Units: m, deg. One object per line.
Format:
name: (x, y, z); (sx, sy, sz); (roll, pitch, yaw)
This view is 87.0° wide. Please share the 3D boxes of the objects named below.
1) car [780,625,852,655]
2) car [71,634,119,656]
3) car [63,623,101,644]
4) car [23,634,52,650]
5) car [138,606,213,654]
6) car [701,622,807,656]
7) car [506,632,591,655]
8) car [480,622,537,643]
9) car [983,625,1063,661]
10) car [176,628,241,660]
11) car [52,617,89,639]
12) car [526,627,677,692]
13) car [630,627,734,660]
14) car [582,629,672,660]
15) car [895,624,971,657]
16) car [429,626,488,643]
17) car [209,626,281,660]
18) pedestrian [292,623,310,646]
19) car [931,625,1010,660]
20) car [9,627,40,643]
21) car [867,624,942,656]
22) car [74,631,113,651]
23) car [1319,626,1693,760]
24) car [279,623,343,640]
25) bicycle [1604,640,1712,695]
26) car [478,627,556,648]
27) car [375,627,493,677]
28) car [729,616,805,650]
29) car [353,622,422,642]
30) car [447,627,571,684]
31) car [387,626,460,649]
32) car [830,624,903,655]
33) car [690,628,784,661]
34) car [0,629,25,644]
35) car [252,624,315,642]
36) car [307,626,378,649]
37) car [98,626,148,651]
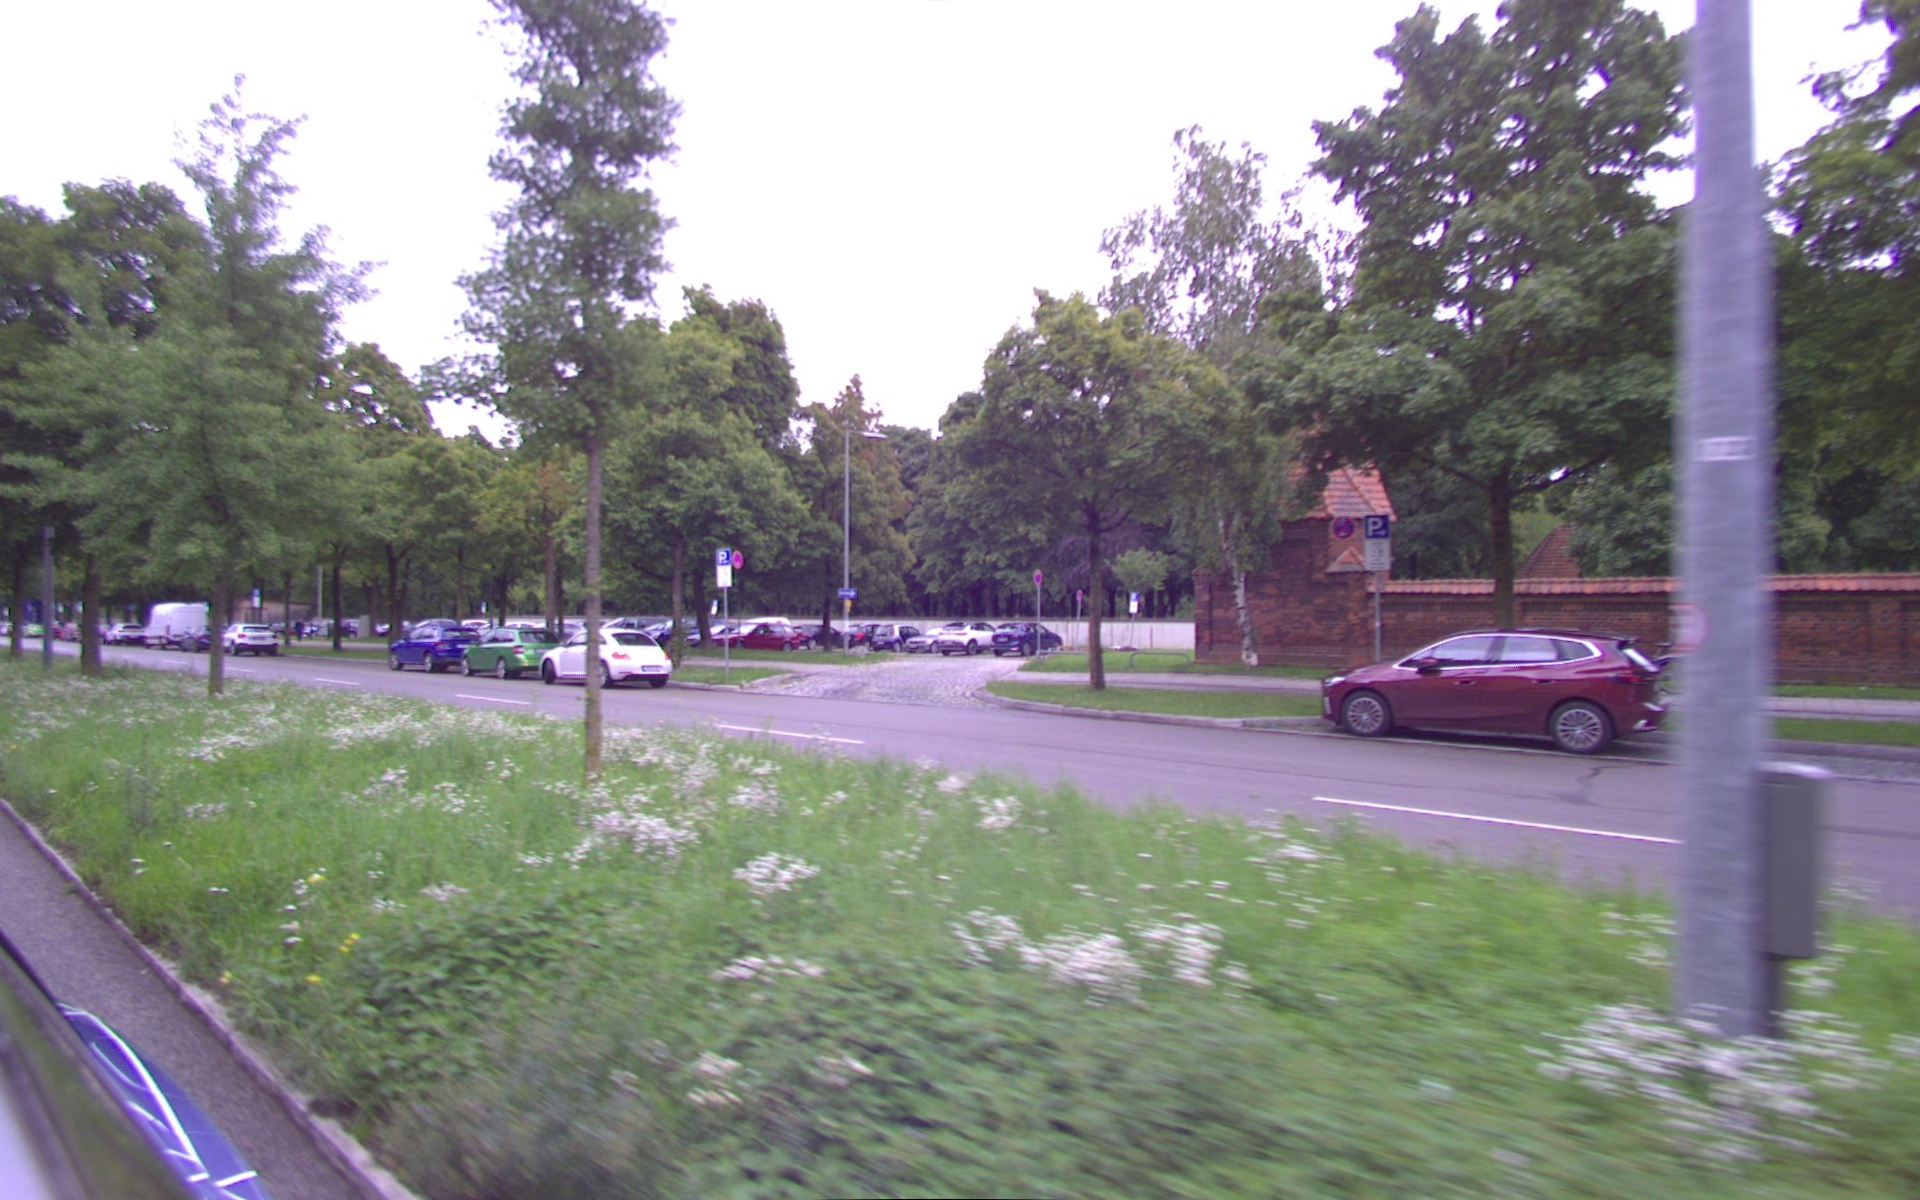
car: (-8.355, 2.307, 59.046); (1.814, 1.548, 3.946); (-1, 0, 40)
car: (-60.686, 3.146, 70.985); (3.995, 1.459, 1.804); (-1, -3, 38)
car: (-69.181, 2.652, 79.733); (4.112, 1.611, 1.802); (-1, -2, 43)
car: (-89.622, 4.101, 98.320); (3.999, 1.511, 1.622); (-2, -4, 42)
car: (-45.883, 1.796, 59.130); (7.102, 2.664, 2.117); (-2, -4, 42)
car: (-8.940, 1.658, 44.099); (1.758, 1.403, 4.367); (-1, -2, 41)
car: (-23.347, 2.435, 57.569); (1.784, 1.219, 4.126); (-2, -2, 44)
car: (-37.583, 2.701, 84.264); (3.940, 1.666, 1.771); (1, -2, -44)
car: (3.045, 2.035, 48.456); (1.814, 1.548, 3.946); (-1, 0, 40)
car: (-39.894, 2.298, 53.665); (4.249, 1.502, 1.838); (0, -1, 40)
car: (-76.189, 2.379, 86.665); (4.236, 1.712, 1.803); (0, -1, 40)
car: (-9.342, 1.512, 26.207); (4.312, 1.549, 1.742); (-1, -4, 41)
car: (-13.006, 2.003, 47.451); (4.293, 1.516, 2.004); (1, -2, -39)
car: (-17.042, 2.248, 51.813); (3.934, 1.516, 2.005); (1, -2, -36)
car: (-1.362, 2.090, 52.843); (1.814, 1.548, 3.946); (-1, 0, 40)
car: (-45.570, 3.114, 92.001); (1.999, 1.453, 4.459); (-1, -2, 40)
car: (-34.361, 2.023, 48.572); (4.139, 1.502, 1.838); (0, -1, 40)
pedestrian: (-43.184, 2.230, 66.306); (0.856, 1.507, 0.786); (-1, -2, 41)
car: (0.543, 2.081, 50.239); (1.814, 1.548, 3.946); (-1, 0, 40)
car: (-95.575, 3.577, 103.347); (4.454, 1.643, 1.802); (-1, -3, 41)
car: (-2.979, 2.159, 54.995); (1.814, 1.548, 3.946); (-1, 0, 40)
car: (-65.108, 3.073, 76.025); (4.001, 1.420, 1.801); (-1, -4, 44)
car: (7.442, 1.150, 14.046); (4.295, 1.548, 1.795); (-1, -1, 40)
car: (-52.326, 2.534, 81.653); (1.737, 1.293, 3.952); (-1, -2, 35)
bicycle: (13.011, 1.241, 18.887); (1.617, 0.944, 0.648); (-1, -2, 39)
car: (-26.448, 2.197, 60.479); (1.784, 1.219, 3.942); (-2, -2, 44)
car: (-17.362, 1.687, 33.321); (4.310, 1.549, 1.867); (-1, -4, 40)
car: (-12.137, 2.075, 63.805); (1.999, 2.050, 4.459); (-1, -2, 40)
car: (-40.972, 2.282, 72.524); (1.815, 1.349, 3.942); (-1, -2, 44)
car: (-13.330, 1.617, 29.786); (4.312, 1.549, 1.621); (-1, -4, 41)
car: (-35.965, 2.485, 67.906); (3.940, 1.449, 1.816); (1, -2, -44)
car: (-5.198, 2.190, 56.660); (1.814, 1.548, 3.946); (-1, 0, 40)
car: (-10.125, 1.992, 46.177); (1.758, 1.403, 3.935); (-1, -2, 41)
car: (-100.651, 3.871, 107.434); (3.686, 1.433, 1.632); (-2, -4, 42)
car: (-57.660, 2.797, 86.309); (1.998, 1.453, 4.094); (-1, -2, 39)
car: (-44.551, 2.699, 73.094); (1.810, 1.582, 3.952); (-1, -2, 35)
car: (-56.336, 2.562, 68.075); (4.296, 1.539, 1.803); (0, -3, 40)
